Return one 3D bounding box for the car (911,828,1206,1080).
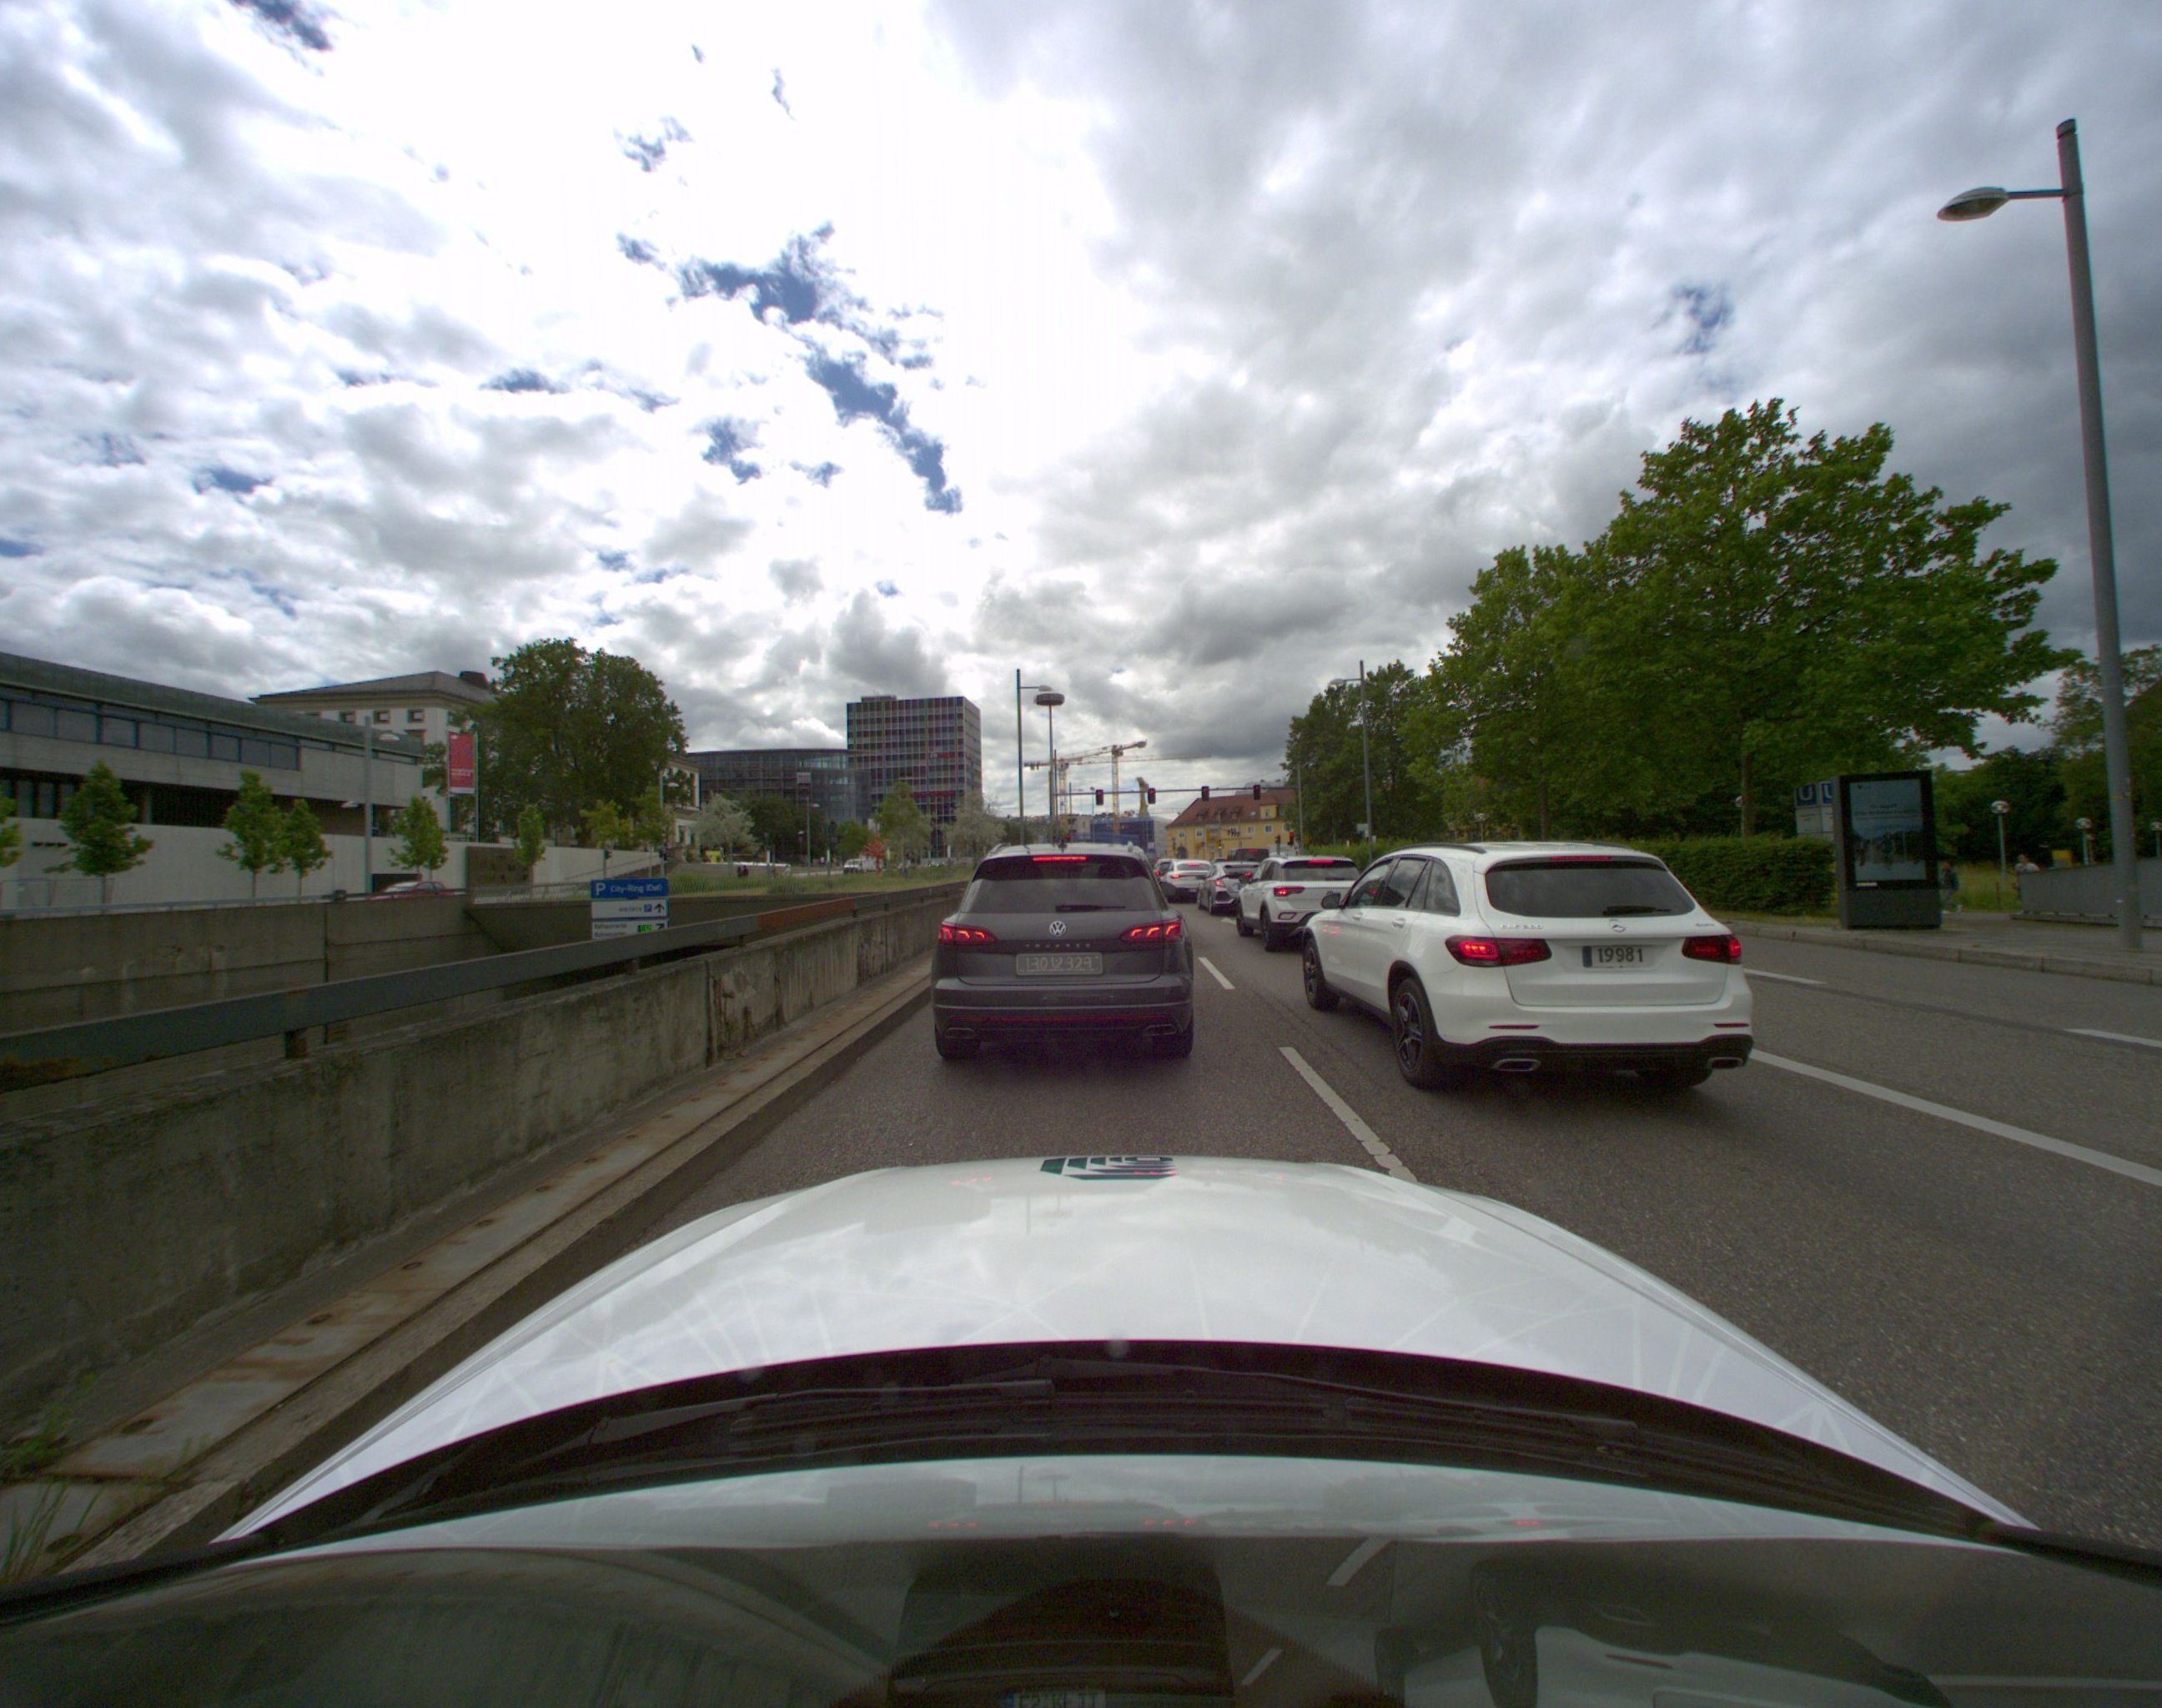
[{"bbox_3d":[-0.097,0.680,7.416,1.944,1.651,4.001,-1,0,1],"label":"car"}]

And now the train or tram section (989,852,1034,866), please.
[{"bbox_3d":[-15.438,1.203,181.230,10.296,3.010,2.612,-1,-2,30],"label":"train or tram section"}]

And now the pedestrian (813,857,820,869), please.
[{"bbox_3d":[-42.803,1.437,131.950,0.735,2.013,0.793,-2,1,2],"label":"pedestrian"}]

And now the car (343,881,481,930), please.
[{"bbox_3d":[-30.000,2.265,36.748,2.166,1.854,4.738,-2,0,1],"label":"car"}]

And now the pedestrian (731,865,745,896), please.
[{"bbox_3d":[-23.339,1.781,55.414,0.794,2.013,0.830,-2,0,-26],"label":"pedestrian"}]

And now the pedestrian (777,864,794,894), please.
[{"bbox_3d":[-20.242,1.680,55.793,0.857,2.013,0.629,-2,1,1],"label":"pedestrian"}]

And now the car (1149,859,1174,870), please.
[{"bbox_3d":[15.122,2.024,153.741,4.402,2.014,1.713,-1,-2,35],"label":"car"}]

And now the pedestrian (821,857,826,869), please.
[{"bbox_3d":[-41.675,1.448,131.614,0.740,2.013,0.788,-2,1,-18],"label":"pedestrian"}]

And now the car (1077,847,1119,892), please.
[{"bbox_3d":[0.829,0.717,39.269,1.944,2.018,3.932,0,0,1],"label":"car"}]

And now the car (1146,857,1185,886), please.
[{"bbox_3d":[4.602,0.948,44.631,1.918,1.529,4.050,-1,-1,3],"label":"car"}]

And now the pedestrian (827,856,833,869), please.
[{"bbox_3d":[-39.459,1.364,128.001,0.740,2.013,0.788,-2,1,-18],"label":"pedestrian"}]

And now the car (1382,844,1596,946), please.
[{"bbox_3d":[7.492,0.684,15.530,1.986,1.640,4.306,-1,0,1],"label":"car"}]

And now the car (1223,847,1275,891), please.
[{"bbox_3d":[8.144,0.719,39.746,1.902,2.014,4.014,0,-1,3],"label":"car"}]

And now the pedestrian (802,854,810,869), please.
[{"bbox_3d":[-39.945,1.089,118.332,0.737,2.013,1.113,-2,1,-3],"label":"pedestrian"}]

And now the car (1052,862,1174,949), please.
[{"bbox_3d":[0.571,0.845,15.074,1.944,1.384,3.932,0,0,1],"label":"car"}]

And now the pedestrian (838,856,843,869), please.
[{"bbox_3d":[-38.071,1.410,128.915,0.740,2.013,1.108,-2,1,-18],"label":"pedestrian"}]

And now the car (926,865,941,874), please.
[{"bbox_3d":[-25.179,2.657,139.125,1.727,1.495,3.594,0,-2,0],"label":"car"}]

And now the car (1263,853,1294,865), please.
[{"bbox_3d":[29.309,0.740,121.058,4.060,1.610,1.841,-1,-2,37],"label":"car"}]

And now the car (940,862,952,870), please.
[{"bbox_3d":[-26.432,2.294,159.553,1.727,1.495,3.594,0,-2,0],"label":"car"}]

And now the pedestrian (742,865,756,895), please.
[{"bbox_3d":[-22.797,1.800,55.942,0.794,2.013,0.830,-2,0,-26],"label":"pedestrian"}]

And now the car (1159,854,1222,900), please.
[{"bbox_3d":[3.876,0.808,29.531,1.918,1.529,4.493,-1,-1,3],"label":"car"}]

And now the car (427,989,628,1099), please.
[{"bbox_3d":[-15.974,5.416,23.962,2.209,2.014,5.120,-2,0,3],"label":"car"}]

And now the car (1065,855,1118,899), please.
[{"bbox_3d":[0.447,0.855,31.795,1.944,1.600,3.932,0,0,1],"label":"car"}]

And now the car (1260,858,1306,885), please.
[{"bbox_3d":[11.436,0.975,46.228,1.751,1.447,3.633,0,-1,1],"label":"car"}]

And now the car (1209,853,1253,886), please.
[{"bbox_3d":[8.287,0.855,45.211,1.902,1.697,4.014,0,-1,3],"label":"car"}]

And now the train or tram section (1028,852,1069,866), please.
[{"bbox_3d":[-7.154,1.138,176.458,8.836,3.010,2.612,0,-2,30],"label":"train or tram section"}]

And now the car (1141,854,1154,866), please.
[{"bbox_3d":[9.138,0.845,112.053,1.612,1.627,4.002,0,-2,3],"label":"car"}]

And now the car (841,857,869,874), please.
[{"bbox_3d":[-27.722,1.390,100.096,1.985,2.013,4.695,-1,1,2],"label":"car"}]

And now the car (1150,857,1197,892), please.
[{"bbox_3d":[4.295,0.955,38.346,1.918,1.529,4.050,-1,-1,3],"label":"car"}]

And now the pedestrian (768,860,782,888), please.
[{"bbox_3d":[-22.748,1.461,60.469,0.729,2.012,0.628,-2,4,-6],"label":"pedestrian"}]

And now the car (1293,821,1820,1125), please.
[{"bbox_3d":[3.188,0.639,6.722,1.918,1.653,4.493,-1,1,3],"label":"car"}]

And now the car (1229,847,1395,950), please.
[{"bbox_3d":[3.918,0.719,14.631,1.918,1.551,4.493,-1,-1,3],"label":"car"}]

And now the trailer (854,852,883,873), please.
[{"bbox_3d":[-27.403,1.068,105.164,2.030,2.604,5.511,0,0,2],"label":"trailer"}]

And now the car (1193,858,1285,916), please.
[{"bbox_3d":[4.301,0.864,22.791,1.918,1.432,4.493,-1,-1,3],"label":"car"}]
